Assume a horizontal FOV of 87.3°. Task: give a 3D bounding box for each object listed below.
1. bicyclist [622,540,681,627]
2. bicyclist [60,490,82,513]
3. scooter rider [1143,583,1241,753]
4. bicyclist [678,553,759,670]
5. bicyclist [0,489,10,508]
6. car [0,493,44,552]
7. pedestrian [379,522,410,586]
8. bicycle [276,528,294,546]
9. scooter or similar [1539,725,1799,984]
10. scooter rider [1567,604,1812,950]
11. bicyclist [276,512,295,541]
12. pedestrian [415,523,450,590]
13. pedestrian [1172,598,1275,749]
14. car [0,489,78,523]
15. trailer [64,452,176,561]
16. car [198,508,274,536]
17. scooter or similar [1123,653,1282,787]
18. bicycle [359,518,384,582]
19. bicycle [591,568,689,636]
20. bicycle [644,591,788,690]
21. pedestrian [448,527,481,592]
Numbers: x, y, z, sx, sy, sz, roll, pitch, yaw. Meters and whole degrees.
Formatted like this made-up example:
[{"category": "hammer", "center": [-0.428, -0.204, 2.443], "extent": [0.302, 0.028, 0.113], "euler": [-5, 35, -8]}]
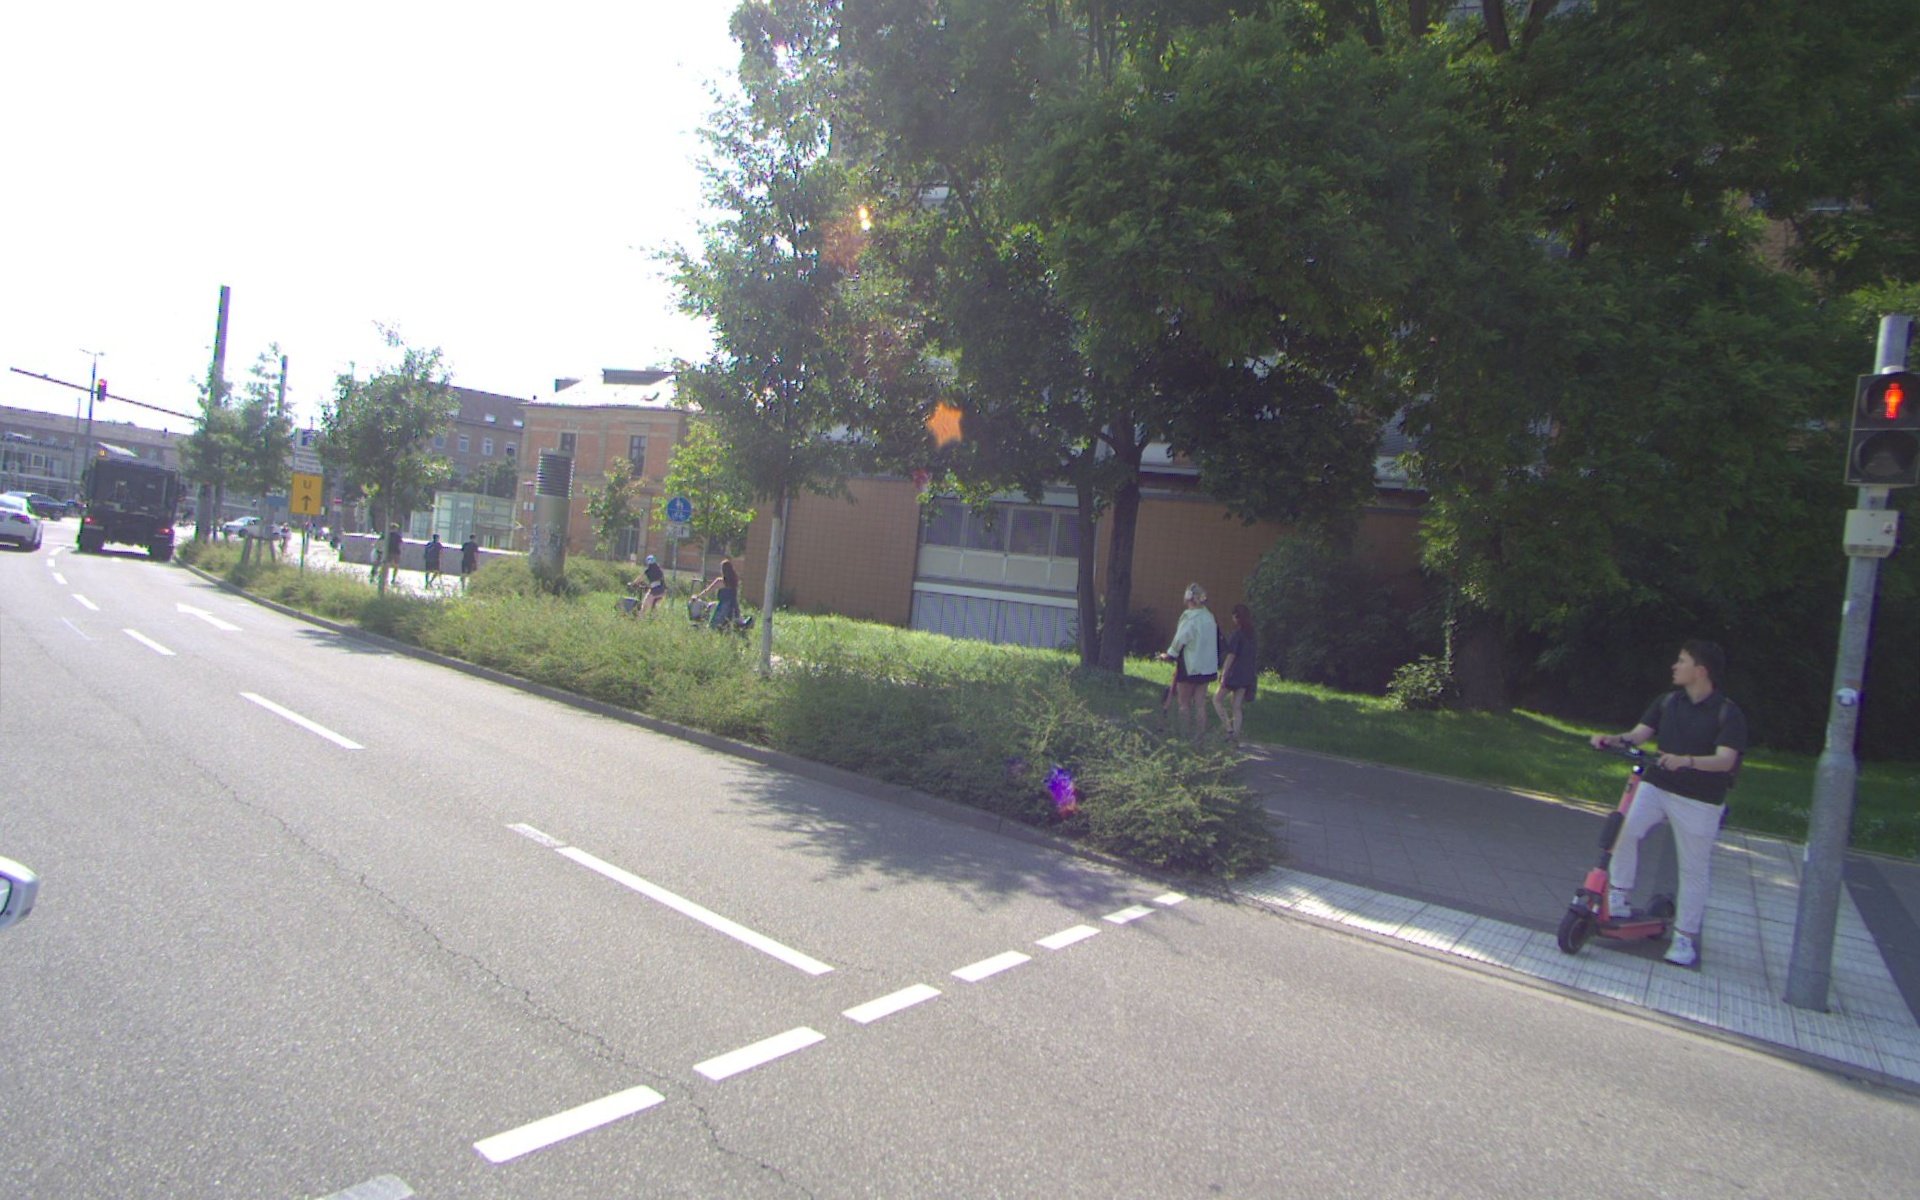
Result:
[{"category": "bicyclist", "center": [-5.787, -0.309, 18.862], "extent": [0.790, 1.515, 0.549], "euler": [7, 1, 33]}, {"category": "bicyclist", "center": [-66.312, -7.368, 75.040], "extent": [0.850, 1.520, 0.904], "euler": [7, 1, 30]}, {"category": "scooter rider", "center": [2.460, 0.714, 10.695], "extent": [0.662, 1.722, 0.536], "euler": [5, 3, -19]}, {"category": "bicyclist", "center": [-3.550, 0.163, 14.795], "extent": [0.831, 1.620, 0.689], "euler": [7, 4, 37]}, {"category": "bicyclist", "center": [-67.925, -7.243, 71.392], "extent": [0.589, 1.263, 0.503], "euler": [6, 1, -31]}, {"category": "car", "center": [-27.276, -2.292, 28.406], "extent": [1.751, 1.473, 4.375], "euler": [7, 0, -40]}, {"category": "pedestrian", "center": [-17.496, -1.428, 31.139], "extent": [0.654, 1.884, 0.787], "euler": [6, 1, -28]}, {"category": "bicycle", "center": [-33.634, -3.161, 50.117], "extent": [0.670, 0.786, 2.107], "euler": [6, 1, -35]}, {"category": "scooter or similar", "center": [4.069, 1.403, 5.761], "extent": [1.352, 1.250, 0.581], "euler": [5, 2, -29]}, {"category": "scooter rider", "center": [4.099, 0.953, 5.675], "extent": [0.795, 1.762, 0.683], "euler": [5, 2, -29]}, {"category": "bicyclist", "center": [-33.524, -3.660, 50.023], "extent": [0.670, 1.337, 0.677], "euler": [5, 1, -36]}, {"category": "pedestrian", "center": [-16.555, -1.378, 31.595], "extent": [0.771, 1.998, 0.748], "euler": [6, 1, -27]}, {"category": "pedestrian", "center": [3.270, 0.883, 12.481], "extent": [0.866, 1.727, 0.704], "euler": [7, 3, 37]}, {"category": "car", "center": [-53.181, -5.396, 56.953], "extent": [1.962, 1.456, 4.566], "euler": [6, 0, 10]}, {"category": "trailer", "center": [-28.640, -3.177, 34.411], "extent": [2.453, 3.044, 6.255], "euler": [8, -1, -40]}, {"category": "car", "center": [-52.538, -5.628, 73.087], "extent": [1.744, 1.442, 4.064], "euler": [7, 0, 24]}, {"category": "scooter or similar", "center": [2.477, 1.200, 10.553], "extent": [0.550, 1.074, 1.995], "euler": [5, 2, -19]}, {"category": "bicycle", "center": [-17.984, -1.536, 30.756], "extent": [0.451, 1.884, 1.352], "euler": [6, 1, -29]}, {"category": "bicycle", "center": [-6.075, 0.031, 19.026], "extent": [1.971, 1.073, 0.557], "euler": [7, 1, 33]}, {"category": "bicycle", "center": [-3.640, 0.570, 14.861], "extent": [2.335, 1.170, 0.693], "euler": [7, 3, 37]}, {"category": "pedestrian", "center": [-15.904, -1.298, 32.315], "extent": [0.771, 1.998, 0.748], "euler": [6, 1, -27]}]
